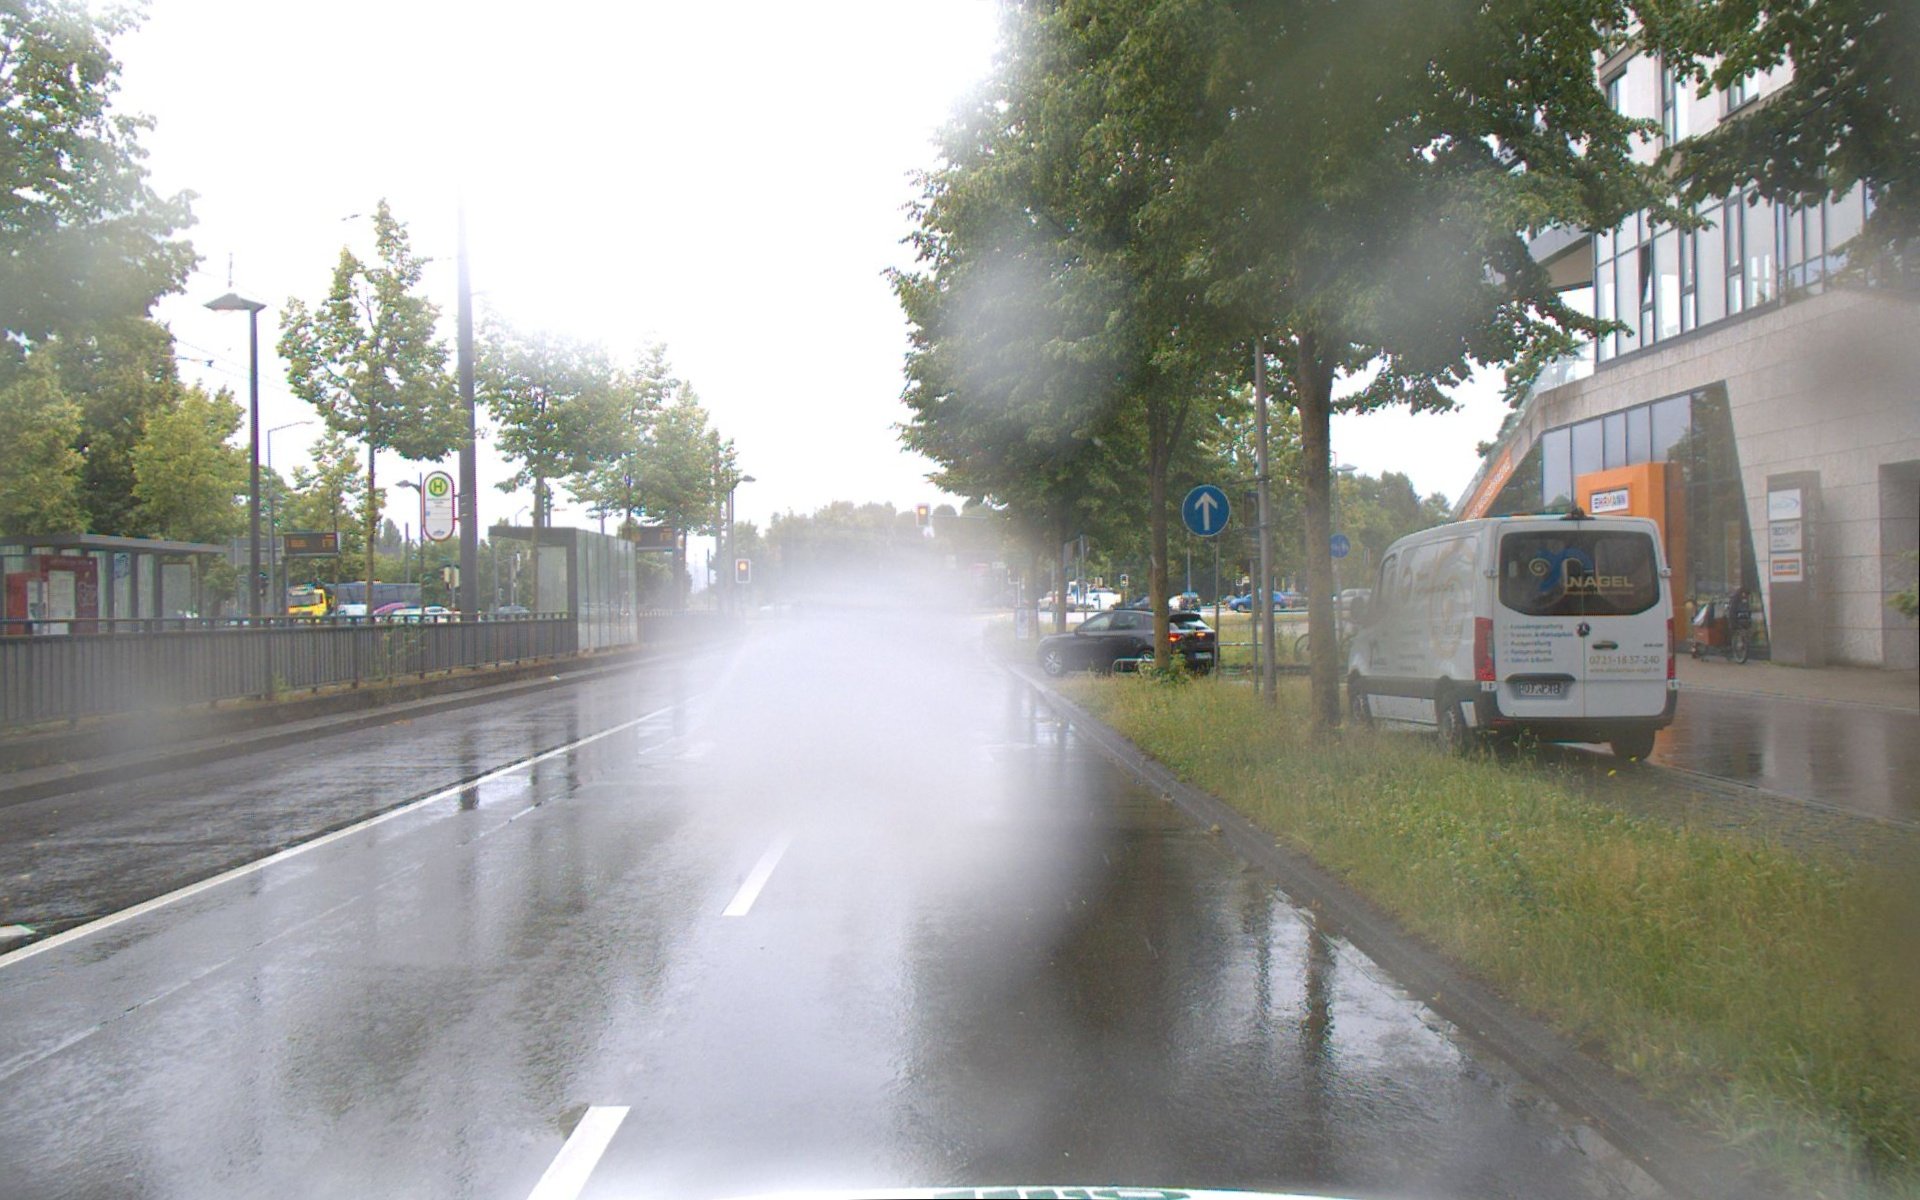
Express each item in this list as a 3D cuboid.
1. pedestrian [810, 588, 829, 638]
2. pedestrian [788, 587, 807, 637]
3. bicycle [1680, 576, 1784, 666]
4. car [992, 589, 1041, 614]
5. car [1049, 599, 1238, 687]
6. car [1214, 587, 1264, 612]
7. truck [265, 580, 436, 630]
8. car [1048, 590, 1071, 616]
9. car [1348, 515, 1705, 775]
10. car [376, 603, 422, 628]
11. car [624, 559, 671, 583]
[{"bbox_3d":[-5.887,0.531,69.525,0.683,2.048,0.656,-2,2,-1],"label":"pedestrian"},{"bbox_3d":[-6.735,0.500,68.643,0.683,2.048,0.656,-2,2,-1],"label":"pedestrian"},{"bbox_3d":[14.775,0.359,31.744,0.652,1.561,2.764,-2,2,-1],"label":"bicycle"},{"bbox_3d":[4.454,0.145,130.555,3.380,1.869,1.714,-1,2,30],"label":"car"},{"bbox_3d":[3.750,0.836,34.318,1.799,1.572,3.954,-3,3,-33],"label":"car"},{"bbox_3d":[21.231,-0.034,125.974,3.380,1.729,1.626,-1,2,30],"label":"car"},{"bbox_3d":[-42.475,0.345,116.170,3.436,3.202,14.919,-1,0,14],"label":"truck"},{"bbox_3d":[7.384,0.187,122.453,1.589,1.729,3.458,-2,2,2],"label":"car"},{"bbox_3d":[5.735,0.408,17.453,2.078,2.313,4.563,-2,0,-1],"label":"car"},{"bbox_3d":[-44.527,1.210,131.278,1.617,1.787,3.922,-1,2,12],"label":"car"},{"bbox_3d":[-29.032,-2.723,153.939,1.952,2.048,5.224,-1,2,19],"label":"car"}]
